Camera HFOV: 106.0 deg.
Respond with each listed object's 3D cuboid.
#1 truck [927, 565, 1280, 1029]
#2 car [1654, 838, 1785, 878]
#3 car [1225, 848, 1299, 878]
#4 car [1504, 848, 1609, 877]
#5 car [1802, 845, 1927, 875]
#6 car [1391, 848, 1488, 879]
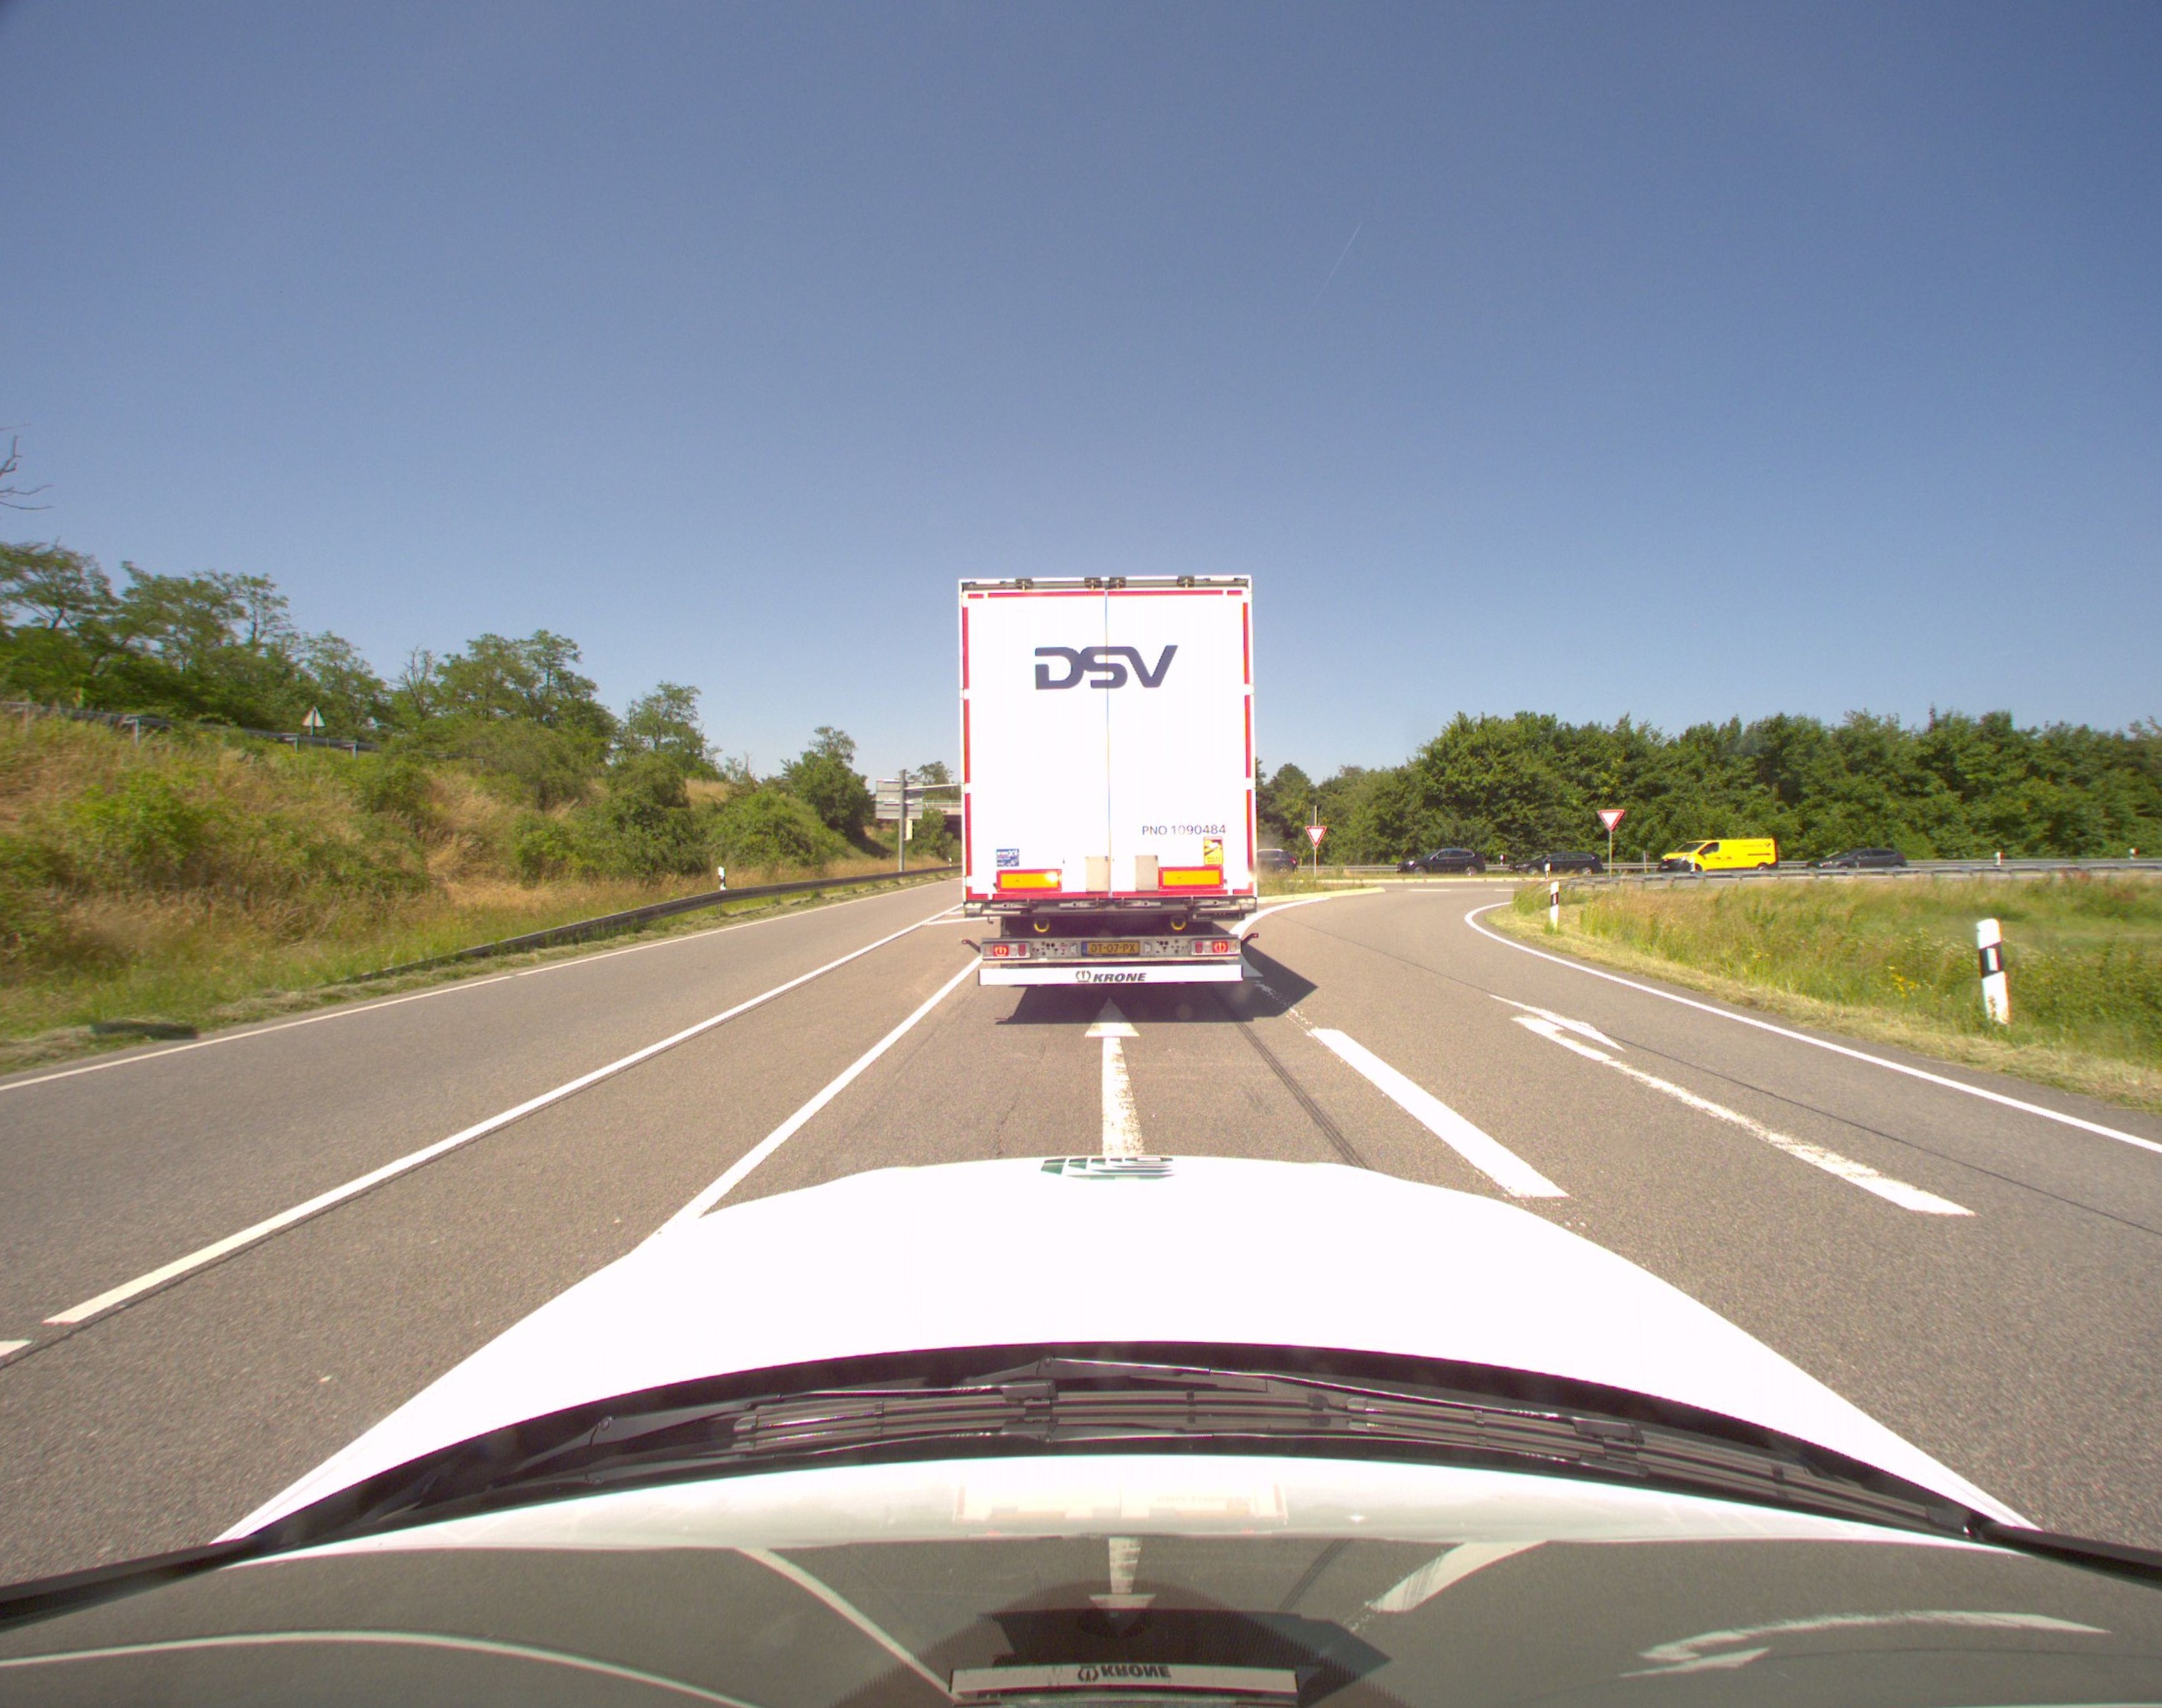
[{"bbox_3d":[0.300,-0.476,11.916,2.977,3.942,9.877,-1,0,1],"label":"truck"},{"bbox_3d":[33.647,0.202,43.034,5.301,2.014,2.001,-1,-1,2],"label":"car"},{"bbox_3d":[10.277,0.521,46.445,3.964,1.640,1.845,-1,-1,7],"label":"car"},{"bbox_3d":[26.201,0.488,44.975,4.655,1.514,1.858,-1,-1,8],"label":"car"},{"bbox_3d":[41.196,0.324,42.891,4.662,1.514,1.855,-1,-1,3],"label":"car"},{"bbox_3d":[19.237,0.502,43.825,4.466,1.598,1.769,-1,-1,4],"label":"car"}]
